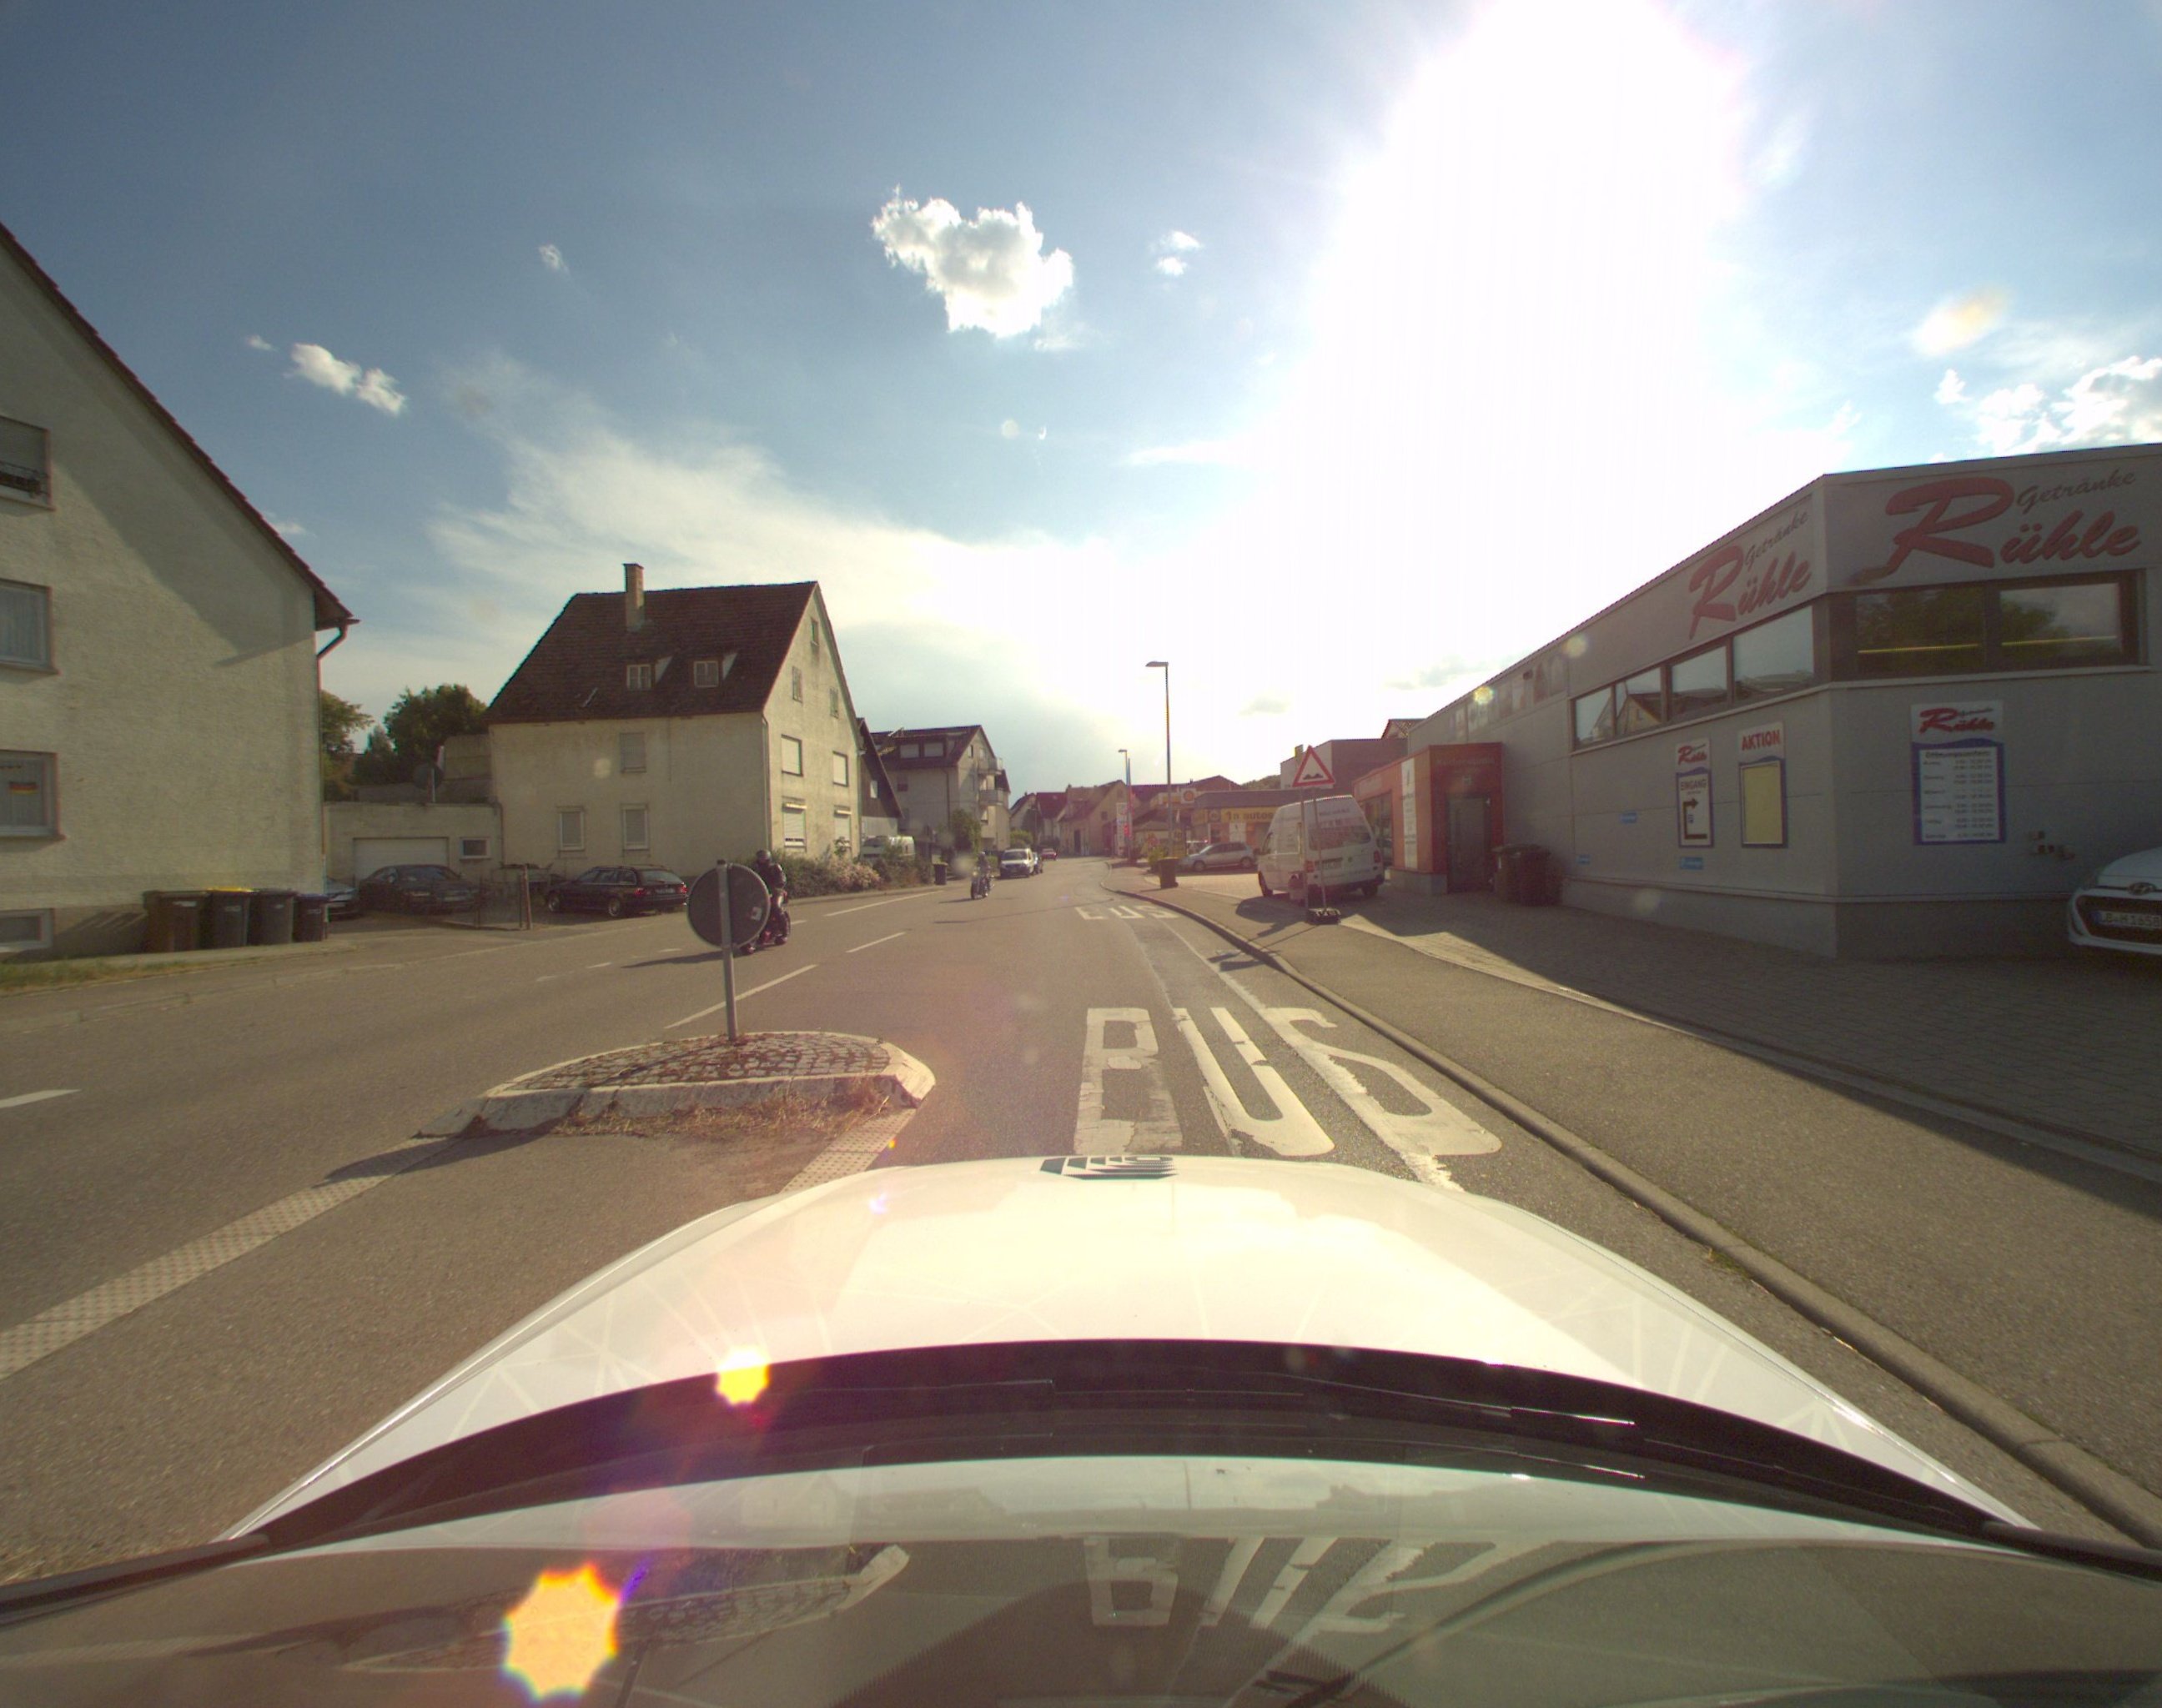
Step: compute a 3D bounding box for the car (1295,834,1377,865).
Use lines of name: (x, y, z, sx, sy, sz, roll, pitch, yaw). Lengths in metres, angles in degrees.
car: (13.815, -0.277, 44.296, 3.895, 1.467, 1.715, -2, 2, -3)

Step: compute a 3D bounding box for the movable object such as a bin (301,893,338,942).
movable object such as a bin: (-14.948, 1.236, 15.987, 0.358, 0.925, 0.402, -2, -1, 18)

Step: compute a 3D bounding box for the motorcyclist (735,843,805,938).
motorcyclist: (-5.227, 0.601, 13.750, 0.733, 1.527, 1.016, 1, -1, 1)

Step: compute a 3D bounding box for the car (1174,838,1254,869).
car: (7.220, -0.039, 44.421, 3.984, 1.531, 1.524, -3, 0, -8)

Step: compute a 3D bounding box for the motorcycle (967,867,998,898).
motorcycle: (-3.349, 0.958, 27.820, 0.521, 1.012, 2.032, 0, 0, 8)

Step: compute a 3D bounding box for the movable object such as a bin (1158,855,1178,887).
movable object such as a bin: (3.095, 0.590, 28.901, 0.565, 1.075, 0.572, -3, 0, -3)

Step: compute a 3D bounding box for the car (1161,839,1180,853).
car: (9.743, -0.918, 89.167, 1.573, 1.427, 4.380, -1, 1, 0)

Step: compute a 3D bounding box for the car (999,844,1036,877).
car: (-3.874, 0.357, 50.363, 1.709, 1.872, 4.195, -3, 1, 2)

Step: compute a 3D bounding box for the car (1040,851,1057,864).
car: (-4.006, 0.406, 100.375, 1.707, 1.434, 3.771, -4, 0, -7)

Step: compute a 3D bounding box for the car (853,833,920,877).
car: (-12.236, 0.032, 51.764, 2.147, 2.595, 6.105, -1, 1, 6)

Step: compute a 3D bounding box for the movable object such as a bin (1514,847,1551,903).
movable object such as a bin: (7.970, 0.370, 14.384, 0.426, 0.966, 0.431, -2, 0, 9)

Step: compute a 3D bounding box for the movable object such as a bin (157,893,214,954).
movable object such as a bin: (-15.627, 1.200, 14.217, 0.358, 1.016, 0.560, -2, -1, 18)

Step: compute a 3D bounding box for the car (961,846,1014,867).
car: (-7.748, 0.152, 67.766, 3.960, 1.538, 1.769, 3, 2, 12)

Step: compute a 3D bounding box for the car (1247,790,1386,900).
car: (5.795, -0.215, 20.813, 1.831, 2.374, 5.175, -3, 0, -2)

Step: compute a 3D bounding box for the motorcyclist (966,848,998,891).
motorcyclist: (-3.370, 0.509, 27.737, 0.798, 1.436, 1.039, -1, 0, 8)

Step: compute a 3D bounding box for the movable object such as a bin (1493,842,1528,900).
movable object such as a bin: (7.959, 0.300, 15.099, 0.426, 1.042, 0.491, -2, 0, 9)

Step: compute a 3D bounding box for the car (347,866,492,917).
car: (-19.755, 1.083, 24.328, 3.951, 1.361, 1.696, 0, 1, 24)

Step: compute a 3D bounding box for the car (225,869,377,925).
car: (-22.159, 1.175, 23.133, 3.951, 1.413, 1.696, 0, 1, 24)

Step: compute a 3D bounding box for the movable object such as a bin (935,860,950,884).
movable object such as a bin: (-6.726, 0.867, 39.495, 0.608, 1.101, 0.576, -1, -1, 2)

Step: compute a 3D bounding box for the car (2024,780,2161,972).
car: (9.975, 0.060, 6.159, 3.533, 1.457, 1.503, -4, 1, 10)

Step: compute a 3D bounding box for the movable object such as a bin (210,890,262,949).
movable object such as a bin: (-15.381, 1.186, 14.831, 0.358, 1.041, 0.560, -2, -1, 18)

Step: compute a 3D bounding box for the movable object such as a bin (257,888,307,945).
movable object such as a bin: (-15.183, 1.180, 15.483, 0.358, 1.023, 0.579, -2, -1, 18)

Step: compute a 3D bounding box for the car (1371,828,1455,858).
car: (18.064, -0.623, 44.401, 3.895, 1.408, 1.715, -2, 2, -3)

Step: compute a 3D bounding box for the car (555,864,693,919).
car: (-13.471, 1.053, 23.970, 3.949, 1.433, 1.663, 0, 1, 29)

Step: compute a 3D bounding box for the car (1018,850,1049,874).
car: (-3.248, 0.505, 55.834, 1.666, 1.451, 3.837, -3, 1, 2)

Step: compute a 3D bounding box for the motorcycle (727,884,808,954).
motorcycle: (-5.204, 1.044, 13.636, 0.536, 1.012, 2.028, 0, 0, 1)
